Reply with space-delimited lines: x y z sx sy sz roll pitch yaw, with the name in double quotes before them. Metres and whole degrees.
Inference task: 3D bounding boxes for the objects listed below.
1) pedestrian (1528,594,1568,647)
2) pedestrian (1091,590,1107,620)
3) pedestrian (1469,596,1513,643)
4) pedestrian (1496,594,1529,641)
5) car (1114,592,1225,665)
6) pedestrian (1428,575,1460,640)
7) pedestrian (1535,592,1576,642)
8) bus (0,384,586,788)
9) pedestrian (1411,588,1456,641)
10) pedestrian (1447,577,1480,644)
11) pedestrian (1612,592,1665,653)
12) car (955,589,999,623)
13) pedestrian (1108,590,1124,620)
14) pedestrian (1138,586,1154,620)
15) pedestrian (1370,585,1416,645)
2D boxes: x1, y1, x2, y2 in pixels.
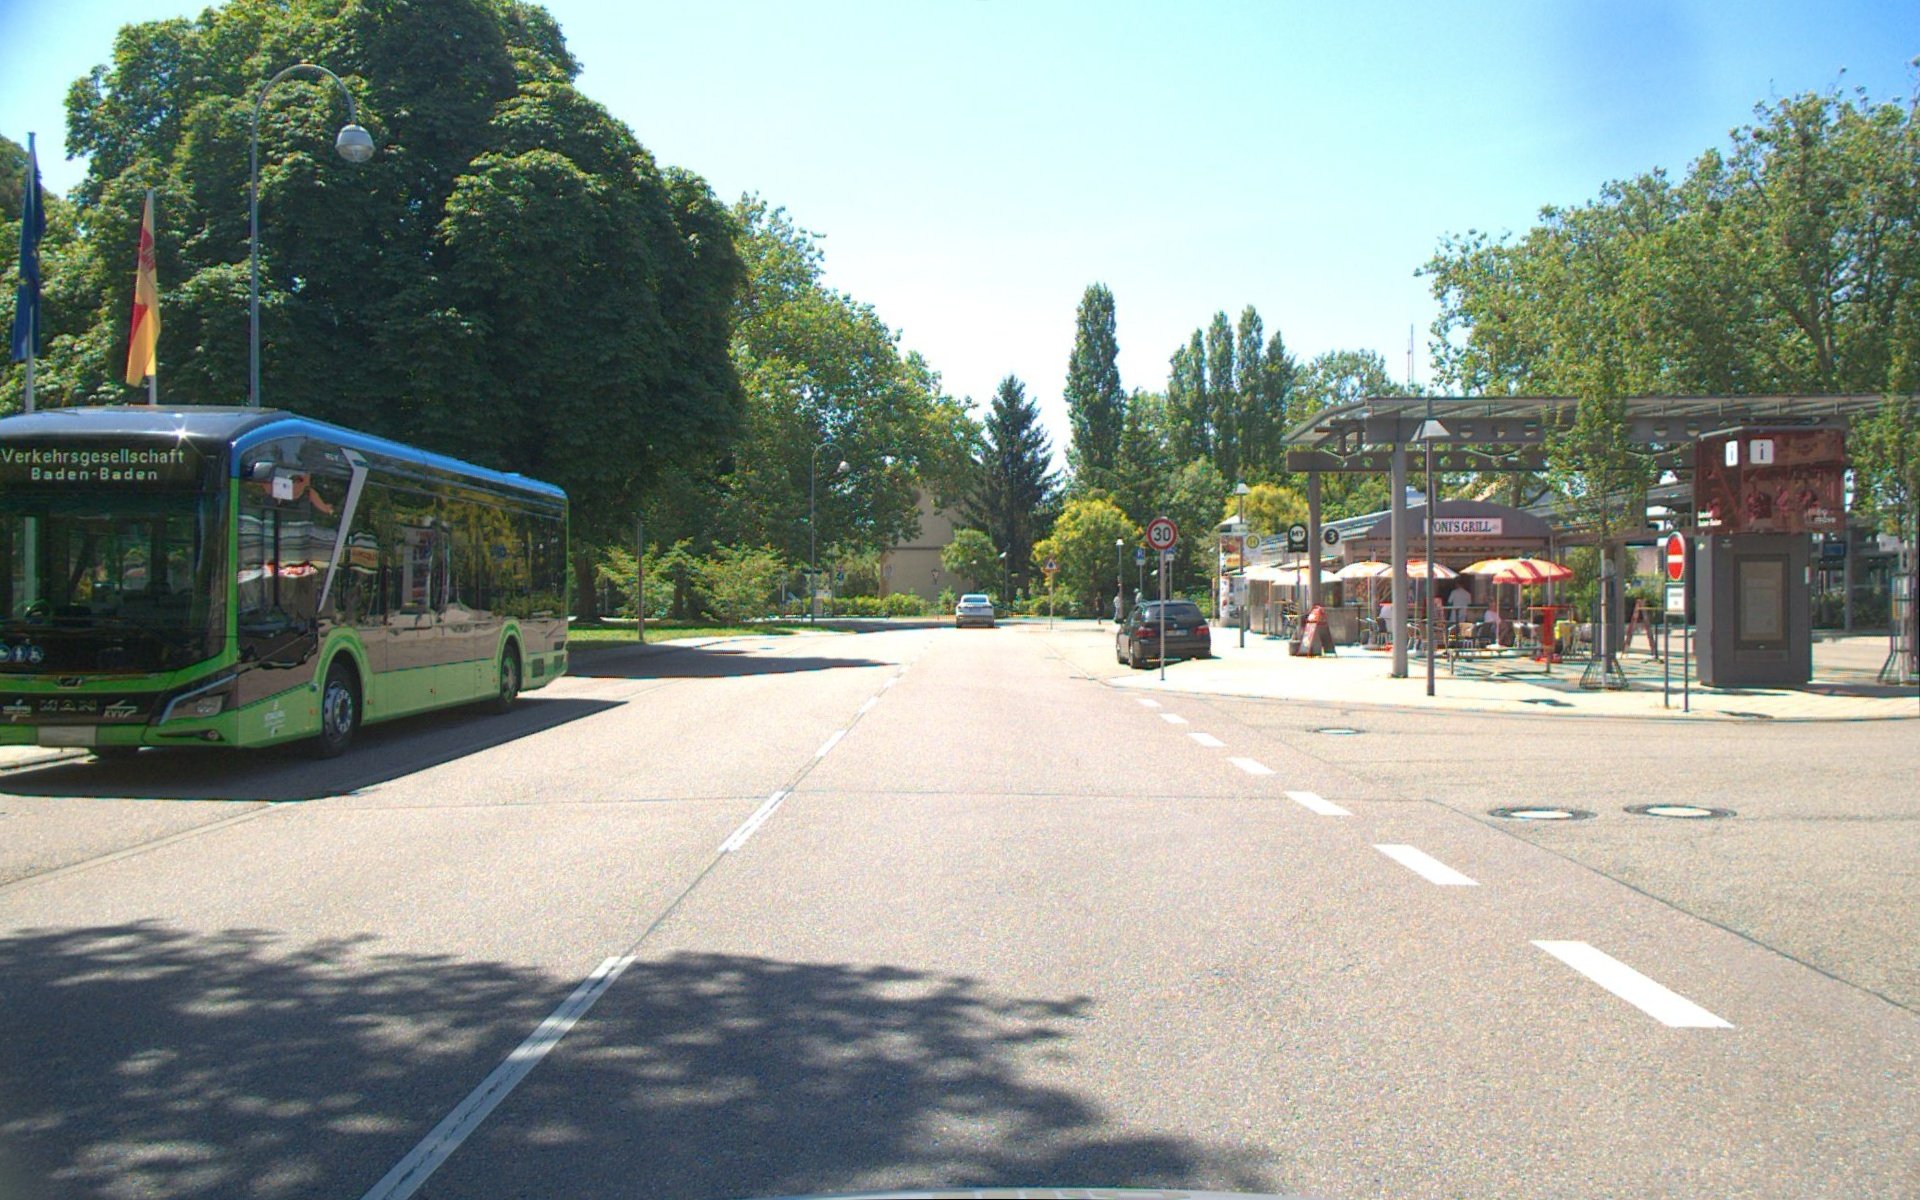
"pedestrian" 13.463 0.466 37.885 0.672 1.181 0.895 0 0 5
"pedestrian" 7.846 0.276 93.246 0.623 1.678 0.749 0 -2 28
"pedestrian" 13.457 0.482 41.909 0.884 1.181 0.680 0 0 -34
"pedestrian" 14.635 0.466 43.816 0.641 1.226 0.592 2 -1 0
"car" 4.782 0.625 38.373 1.887 1.486 4.724 -3 0 0
"pedestrian" 13.275 0.197 45.365 0.672 1.768 0.707 0 0 0
"pedestrian" 14.991 0.435 41.617 0.743 1.226 0.737 2 -1 0
"bus" -7.321 -0.161 19.914 2.751 3.340 12.425 0 0 0
"pedestrian" 12.025 0.360 42.015 0.884 1.335 0.680 0 0 -34
"pedestrian" 13.352 0.270 43.856 0.672 1.768 0.707 0 -1 0
"pedestrian" 14.751 0.484 35.984 0.827 1.300 0.895 0 0 5
"car" 0.877 0.284 83.049 1.941 1.655 4.780 -1 0 3
"pedestrian" 8.957 0.308 94.876 0.706 1.678 0.749 0 -2 28
"pedestrian" 11.087 0.181 98.547 0.837 2.000 0.805 0 0 -6
"pedestrian" 10.589 0.359 40.428 0.885 1.442 0.679 0 0 -37
